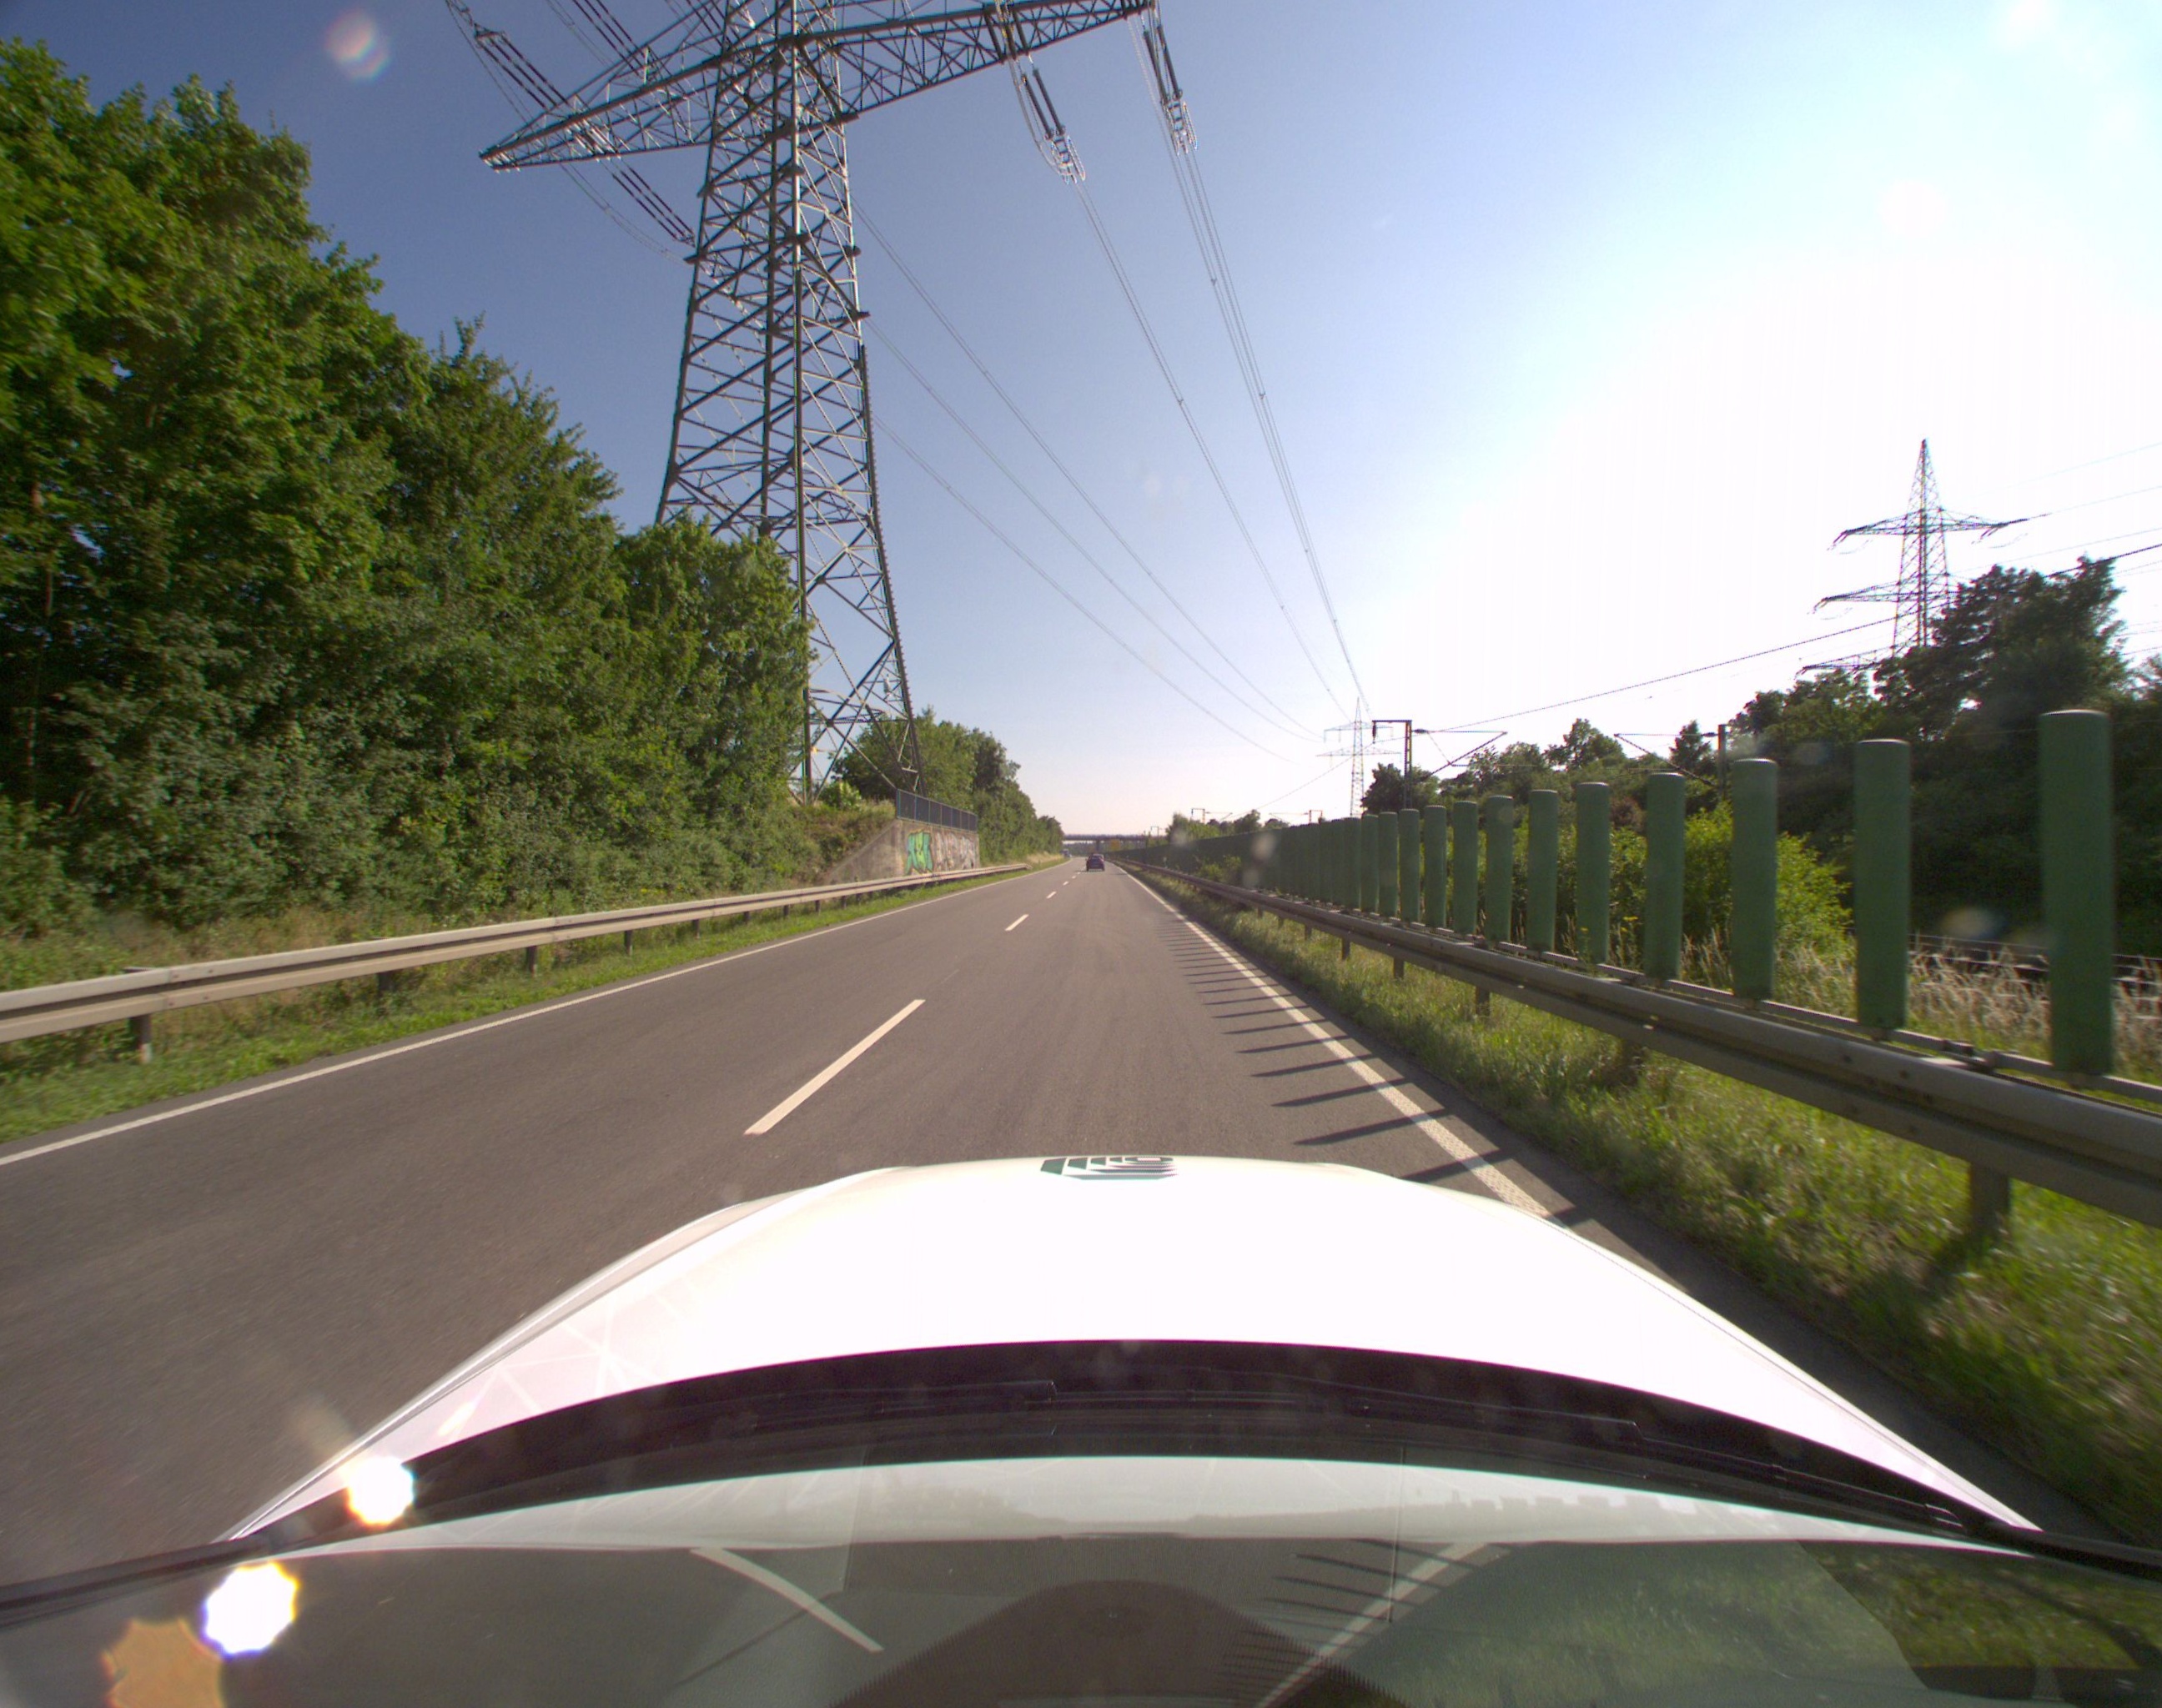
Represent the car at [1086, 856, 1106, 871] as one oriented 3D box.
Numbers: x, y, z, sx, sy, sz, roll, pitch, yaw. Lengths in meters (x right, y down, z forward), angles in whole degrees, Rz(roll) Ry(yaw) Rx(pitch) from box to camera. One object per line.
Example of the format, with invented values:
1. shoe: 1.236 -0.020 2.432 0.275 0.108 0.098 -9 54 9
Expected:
1. car: 1.351 0.849 73.420 1.658 1.261 3.998 -1 0 -1
